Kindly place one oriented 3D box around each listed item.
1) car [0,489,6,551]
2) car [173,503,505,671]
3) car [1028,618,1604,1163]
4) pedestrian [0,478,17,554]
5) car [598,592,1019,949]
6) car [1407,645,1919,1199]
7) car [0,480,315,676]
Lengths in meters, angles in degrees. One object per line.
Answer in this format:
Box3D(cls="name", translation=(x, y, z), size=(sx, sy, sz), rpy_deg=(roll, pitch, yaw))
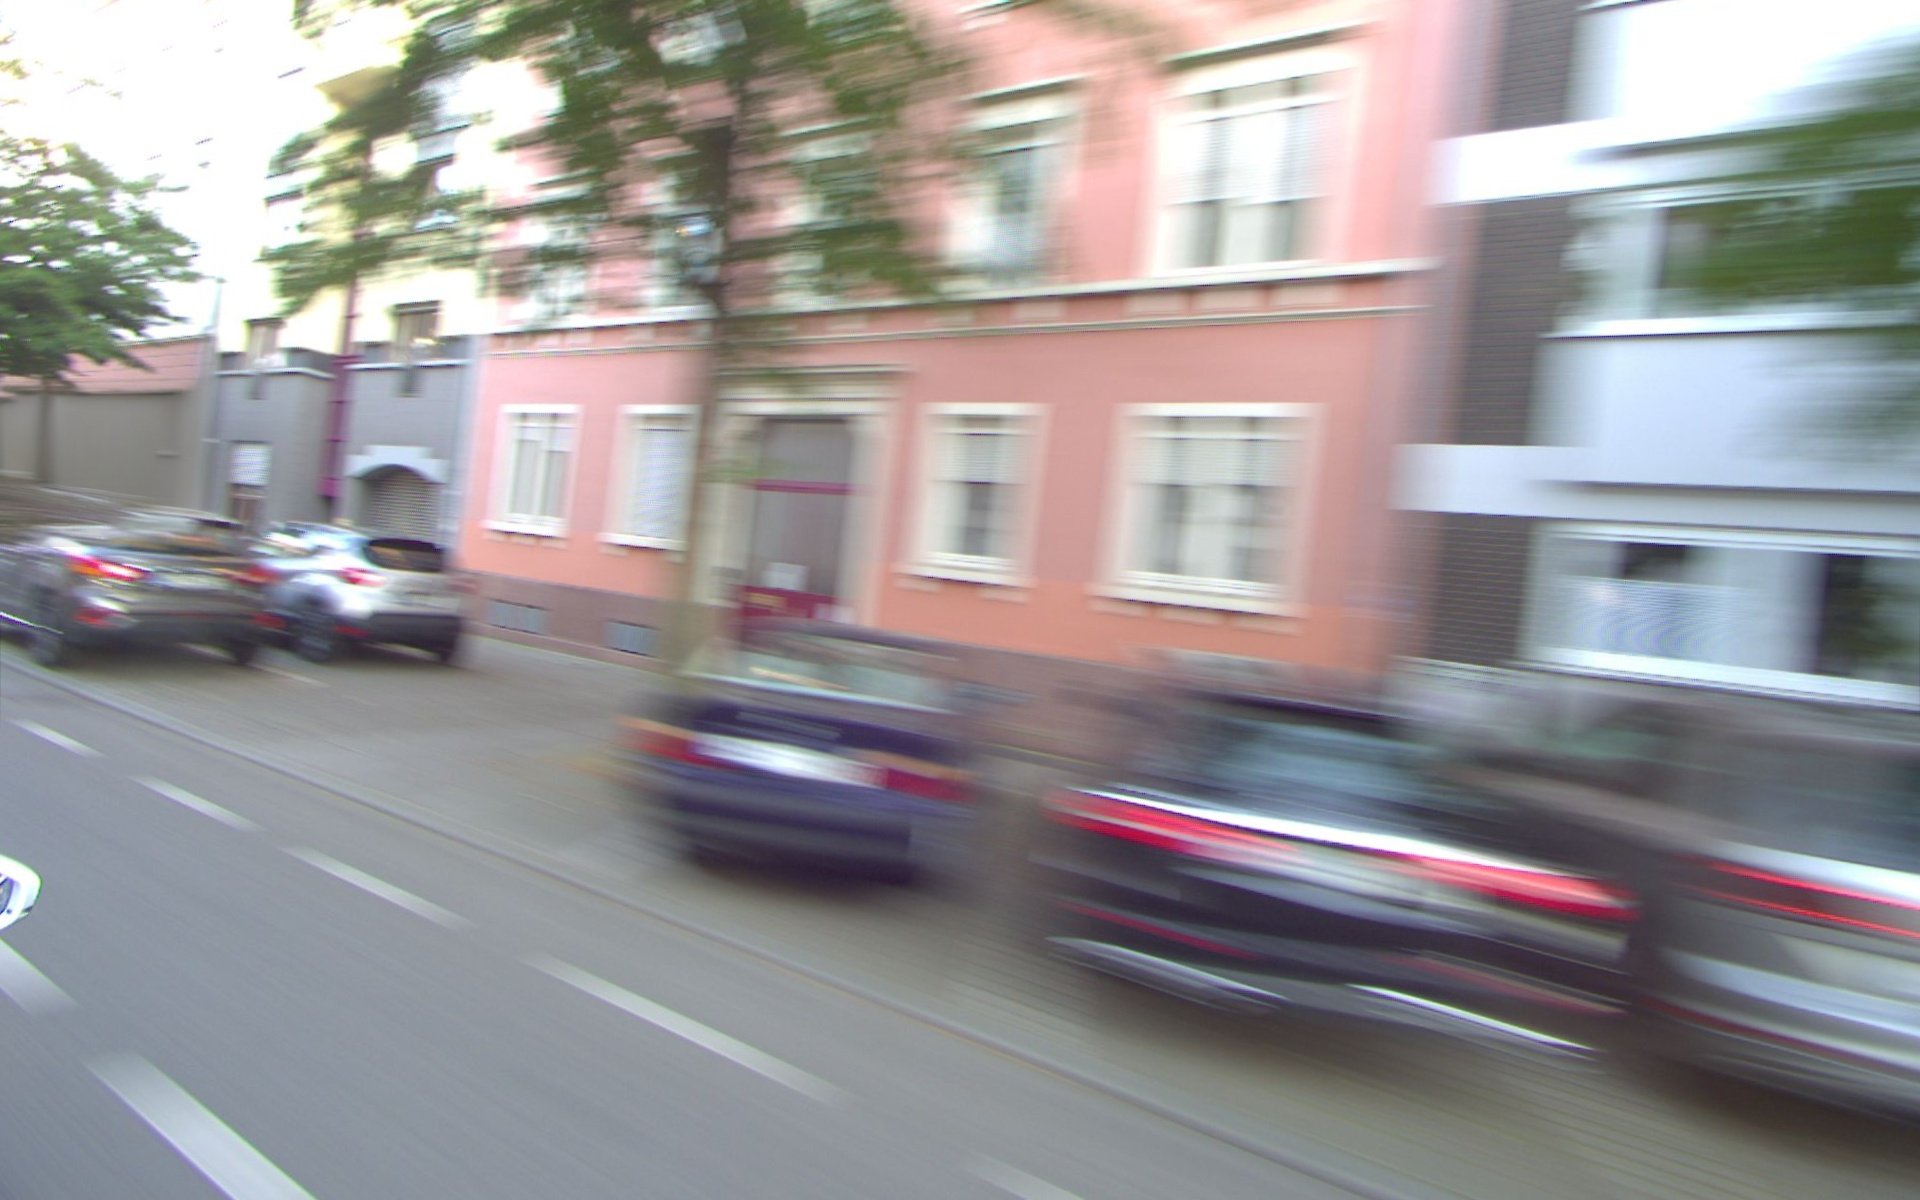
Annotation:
Box3D(cls="car", translation=(-17.021, -1.210, 15.610), size=(4.953, 1.507, 1.995), rpy_deg=(7, 0, 32))
Box3D(cls="car", translation=(-7.886, -0.183, 12.714), size=(3.953, 1.603, 1.882), rpy_deg=(7, 0, 31))
Box3D(cls="car", translation=(1.481, 0.998, 5.397), size=(1.687, 1.573, 3.975), rpy_deg=(8, 0, 9))
Box3D(cls="pedestrian", translation=(-23.857, -2.098, 24.746), size=(0.590, 1.838, 0.681), rpy_deg=(7, 0, 32))
Box3D(cls="car", translation=(-0.583, 0.834, 6.696), size=(1.590, 1.404, 4.266), rpy_deg=(7, -1, 6))
Box3D(cls="car", translation=(3.759, 1.195, 5.053), size=(1.687, 1.613, 4.001), rpy_deg=(8, 0, 11))
Box3D(cls="car", translation=(-8.994, -0.322, 10.706), size=(4.191, 1.639, 1.880), rpy_deg=(7, 2, 31))
